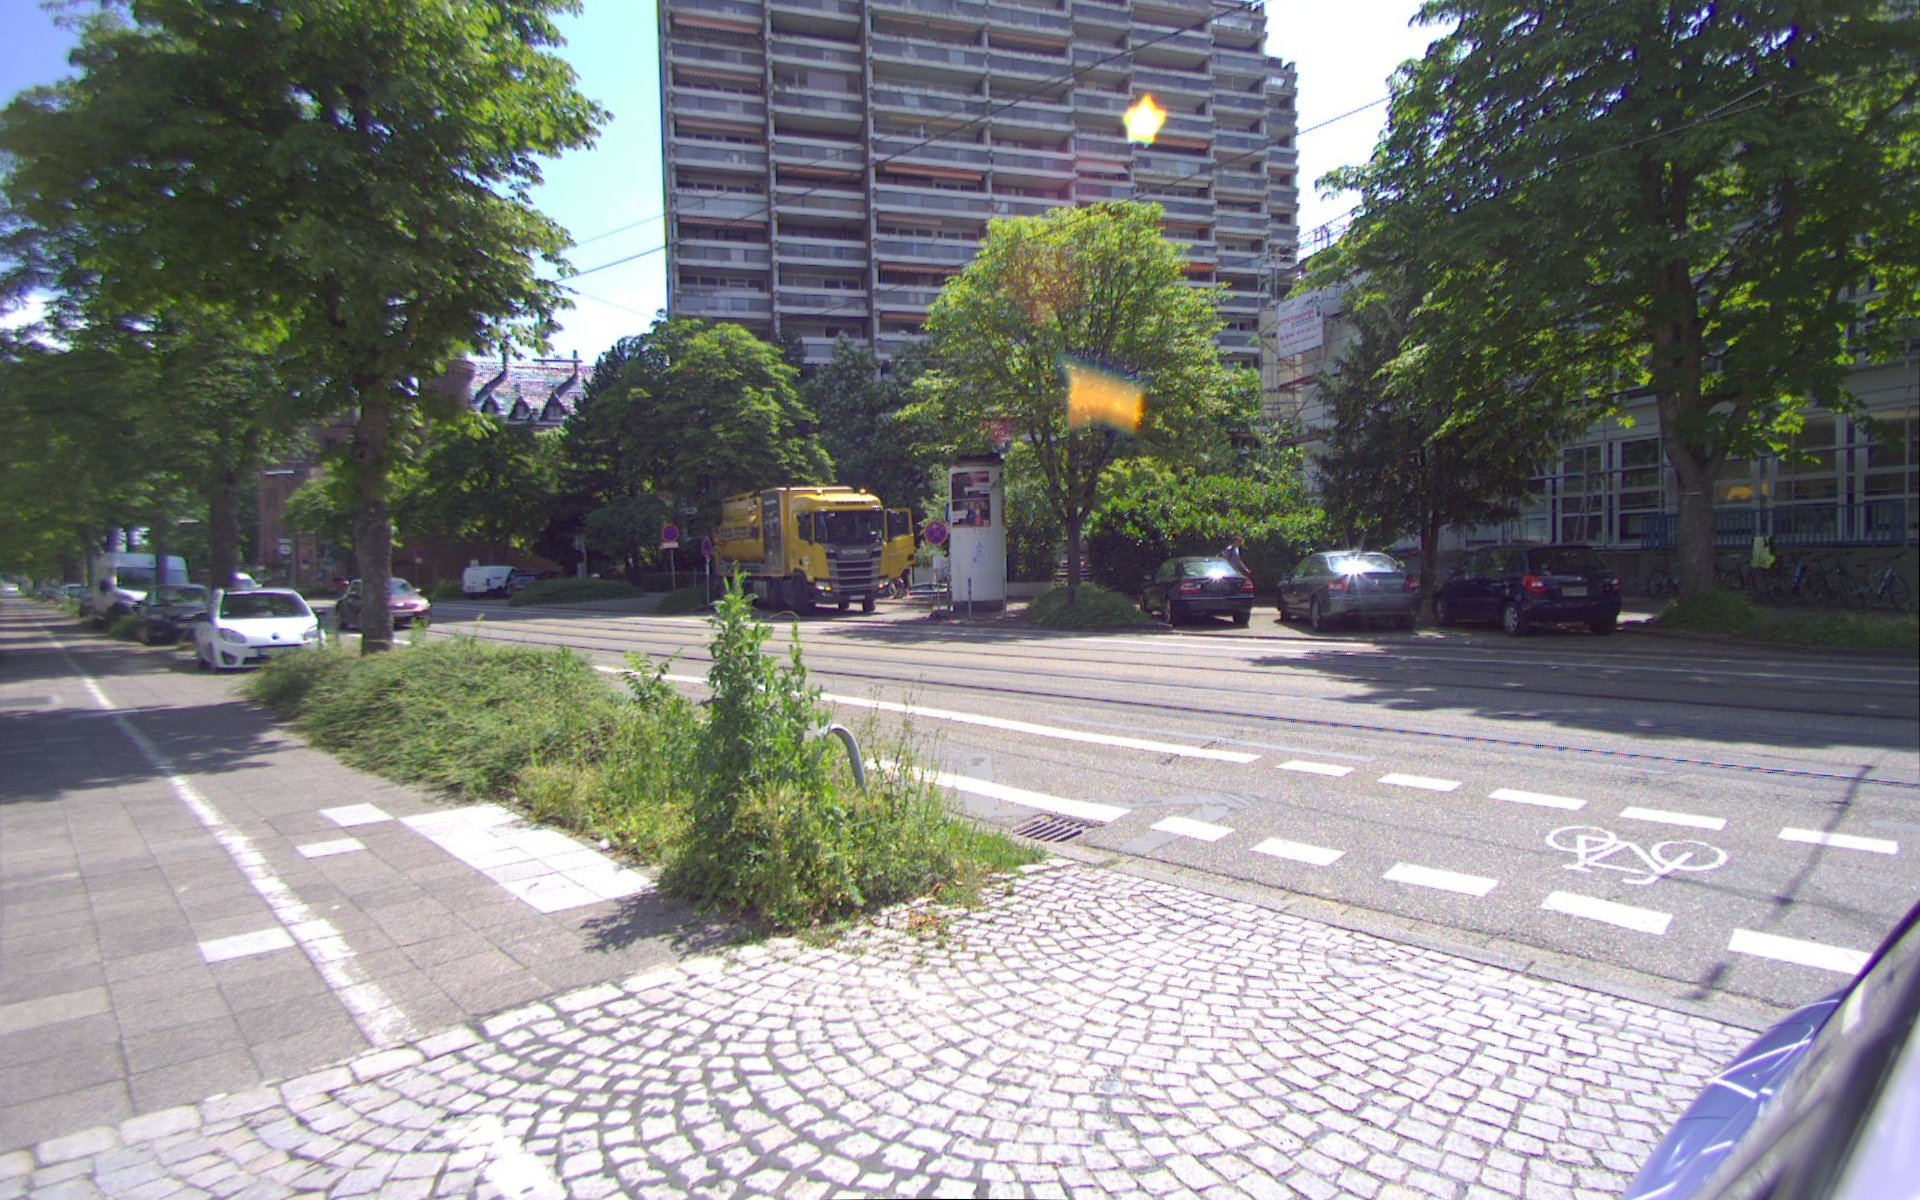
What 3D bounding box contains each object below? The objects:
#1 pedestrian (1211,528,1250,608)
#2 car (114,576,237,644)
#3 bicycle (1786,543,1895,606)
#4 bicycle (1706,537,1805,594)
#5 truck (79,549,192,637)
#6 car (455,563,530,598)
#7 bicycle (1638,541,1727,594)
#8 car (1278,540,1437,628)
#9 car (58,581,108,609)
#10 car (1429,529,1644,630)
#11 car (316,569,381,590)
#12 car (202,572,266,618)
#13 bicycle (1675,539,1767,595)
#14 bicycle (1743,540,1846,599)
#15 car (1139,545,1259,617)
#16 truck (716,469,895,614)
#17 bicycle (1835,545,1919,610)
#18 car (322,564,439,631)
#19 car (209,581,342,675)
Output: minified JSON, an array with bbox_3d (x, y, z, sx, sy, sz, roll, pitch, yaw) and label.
[{"bbox_3d":[6.505,-0.776,24.349,0.701,1.897,0.578,-2,2,-30],"label":"pedestrian"},{"bbox_3d":[-20.887,0.203,26.880,3.986,1.627,1.970,1,2,43],"label":"car"},{"bbox_3d":[17.016,-0.508,19.572,1.903,1.144,0.570,-2,2,-13],"label":"bicycle"},{"bbox_3d":[16.738,-0.730,21.288,1.887,1.144,0.570,-2,2,-13],"label":"bicycle"},{"bbox_3d":[-26.110,-0.245,31.970,5.852,2.516,1.996,0,3,44],"label":"truck"},{"bbox_3d":[-25.594,-1.105,55.571,1.804,1.816,3.992,-1,2,8],"label":"car"},{"bbox_3d":[16.248,-0.737,22.758,1.887,1.144,0.570,-2,2,-16],"label":"bicycle"},{"bbox_3d":[7.515,-0.357,19.569,1.788,1.480,4.018,-1,2,6],"label":"car"},{"bbox_3d":[-50.849,-0.296,58.649,1.968,1.504,4.327,-3,3,-43],"label":"car"},{"bbox_3d":[9.722,-0.386,17.403,1.618,1.535,3.578,-1,2,0],"label":"car"},{"bbox_3d":[-47.909,-1.618,79.353,1.978,1.504,3.969,0,2,24],"label":"car"},{"bbox_3d":[-34.757,-0.259,48.421,1.967,2.038,3.992,-3,3,-42],"label":"car"},{"bbox_3d":[16.569,-0.728,22.043,1.887,1.144,0.570,-2,2,-16],"label":"bicycle"},{"bbox_3d":[16.957,-0.623,20.570,1.903,1.144,0.570,-2,2,-13],"label":"bicycle"},{"bbox_3d":[5.117,-0.453,22.175,1.599,1.389,4.025,-2,2,-1],"label":"car"},{"bbox_3d":[-5.387,-1.818,33.228,2.696,4.054,9.760,-3,3,-27],"label":"truck"},{"bbox_3d":[17.334,-0.437,18.832,1.903,1.144,0.570,-2,2,-13],"label":"bicycle"},{"bbox_3d":[-16.809,-0.116,29.263,1.968,1.709,3.990,-6,5,-43],"label":"car"},{"bbox_3d":[-12.324,0.414,18.136,1.594,1.457,3.579,-3,3,-39],"label":"car"}]
